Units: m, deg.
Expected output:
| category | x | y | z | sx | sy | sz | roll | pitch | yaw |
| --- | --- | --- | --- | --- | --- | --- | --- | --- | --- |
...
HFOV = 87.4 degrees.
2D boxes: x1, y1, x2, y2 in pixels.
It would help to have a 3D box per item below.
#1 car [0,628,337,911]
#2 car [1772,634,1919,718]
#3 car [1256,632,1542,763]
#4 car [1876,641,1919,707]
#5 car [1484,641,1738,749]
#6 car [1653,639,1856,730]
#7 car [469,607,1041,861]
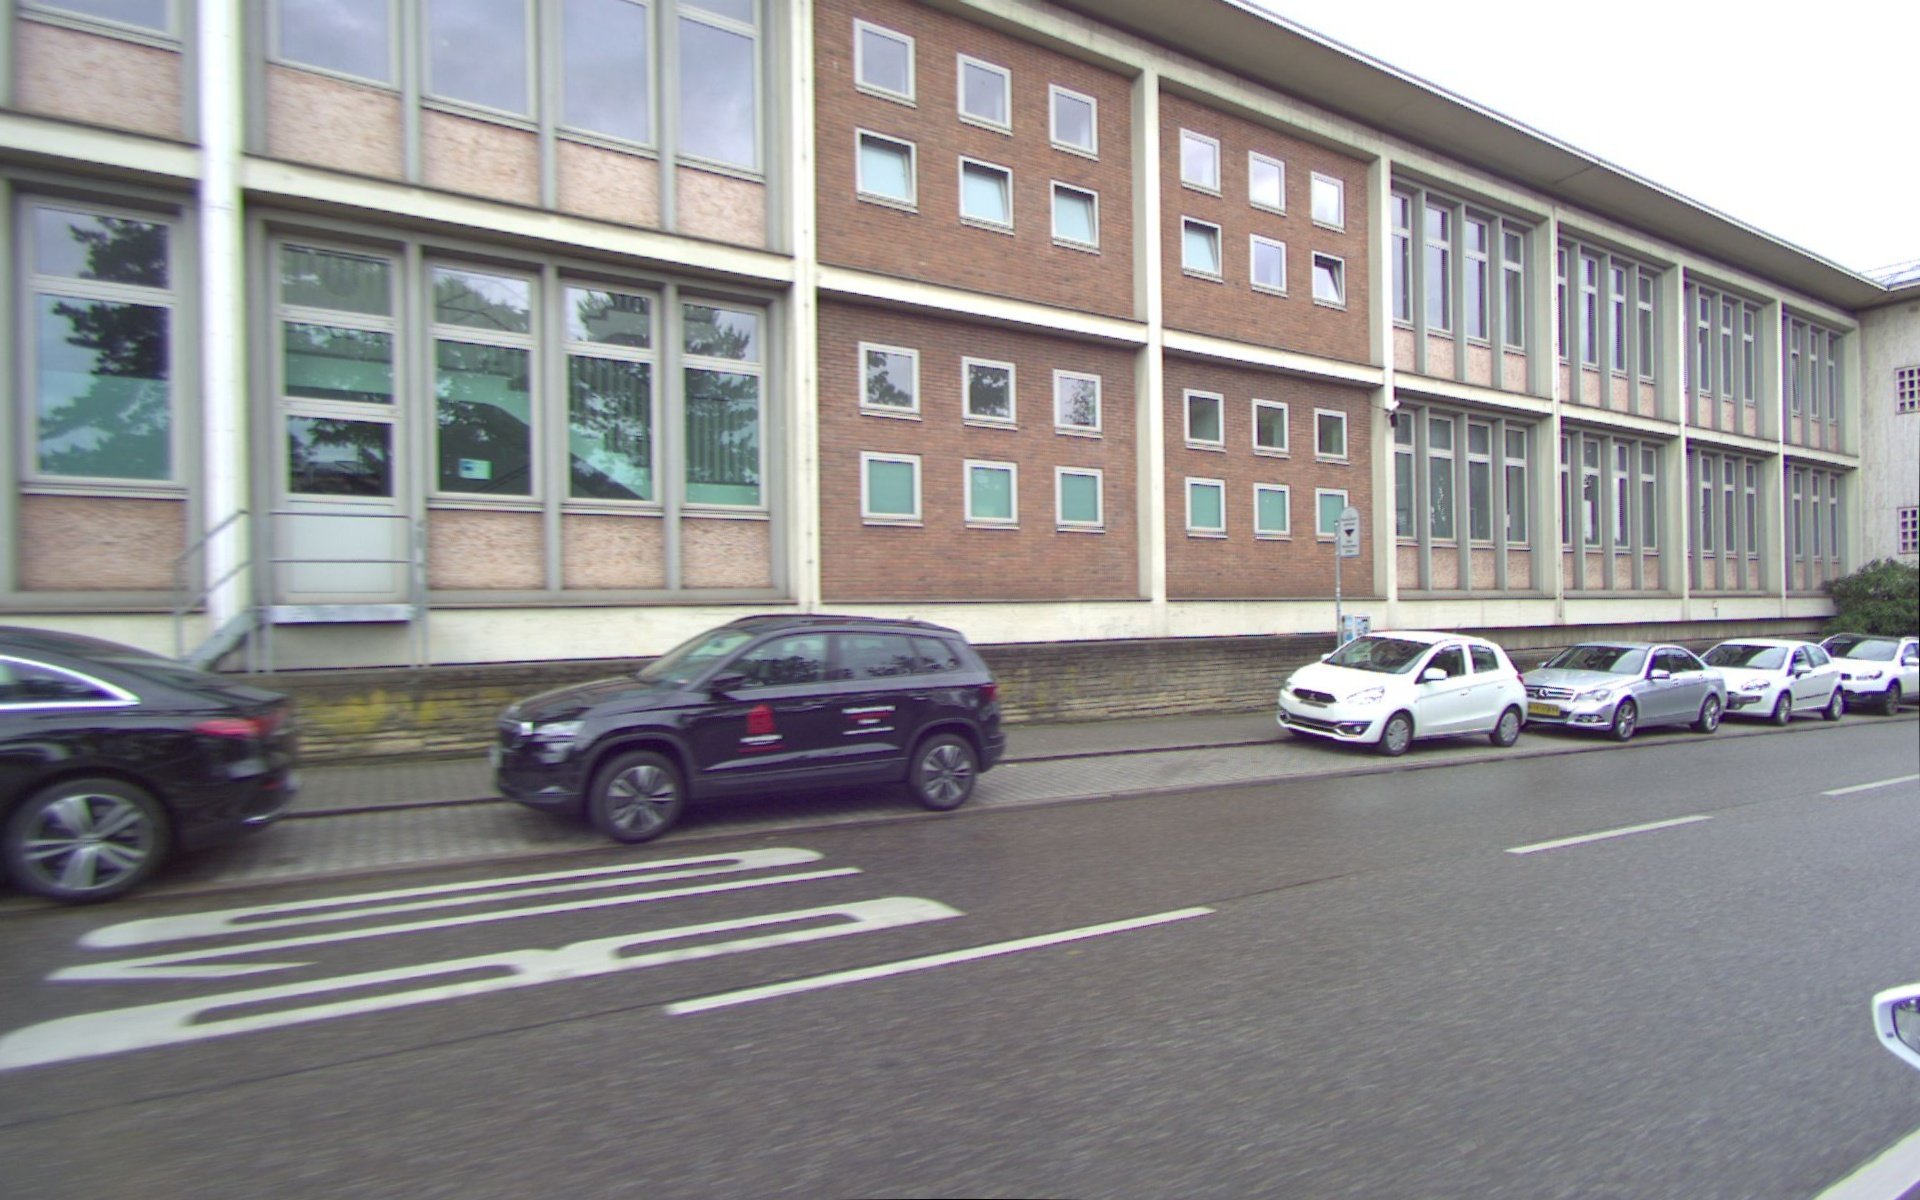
| category | x | y | z | sx | sy | sz | roll | pitch | yaw |
| --- | --- | --- | --- | --- | --- | --- | --- | --- | --- |
| car | -6.415 | 0.922 | 5.653 | 4.851 | 1.503 | 1.807 | 1 | -2 | -30 |
| car | 19.597 | 1.575 | 21.821 | 4.133 | 1.619 | 1.739 | 1 | 0 | -31 |
| car | 6.043 | 1.232 | 13.717 | 3.876 | 1.543 | 1.671 | 2 | -1 | -31 |
| car | 24.066 | 1.777 | 24.321 | 4.135 | 1.499 | 1.738 | 1 | 0 | -32 |
| car | 10.548 | 1.434 | 16.187 | 4.436 | 1.454 | 1.738 | 2 | -1 | -32 |
| car | 15.122 | 1.521 | 19.065 | 4.135 | 1.473 | 1.738 | 1 | 0 | -32 |
| car | -1.655 | 0.959 | 8.650 | 4.465 | 1.675 | 1.832 | 2 | -1 | -32 |
